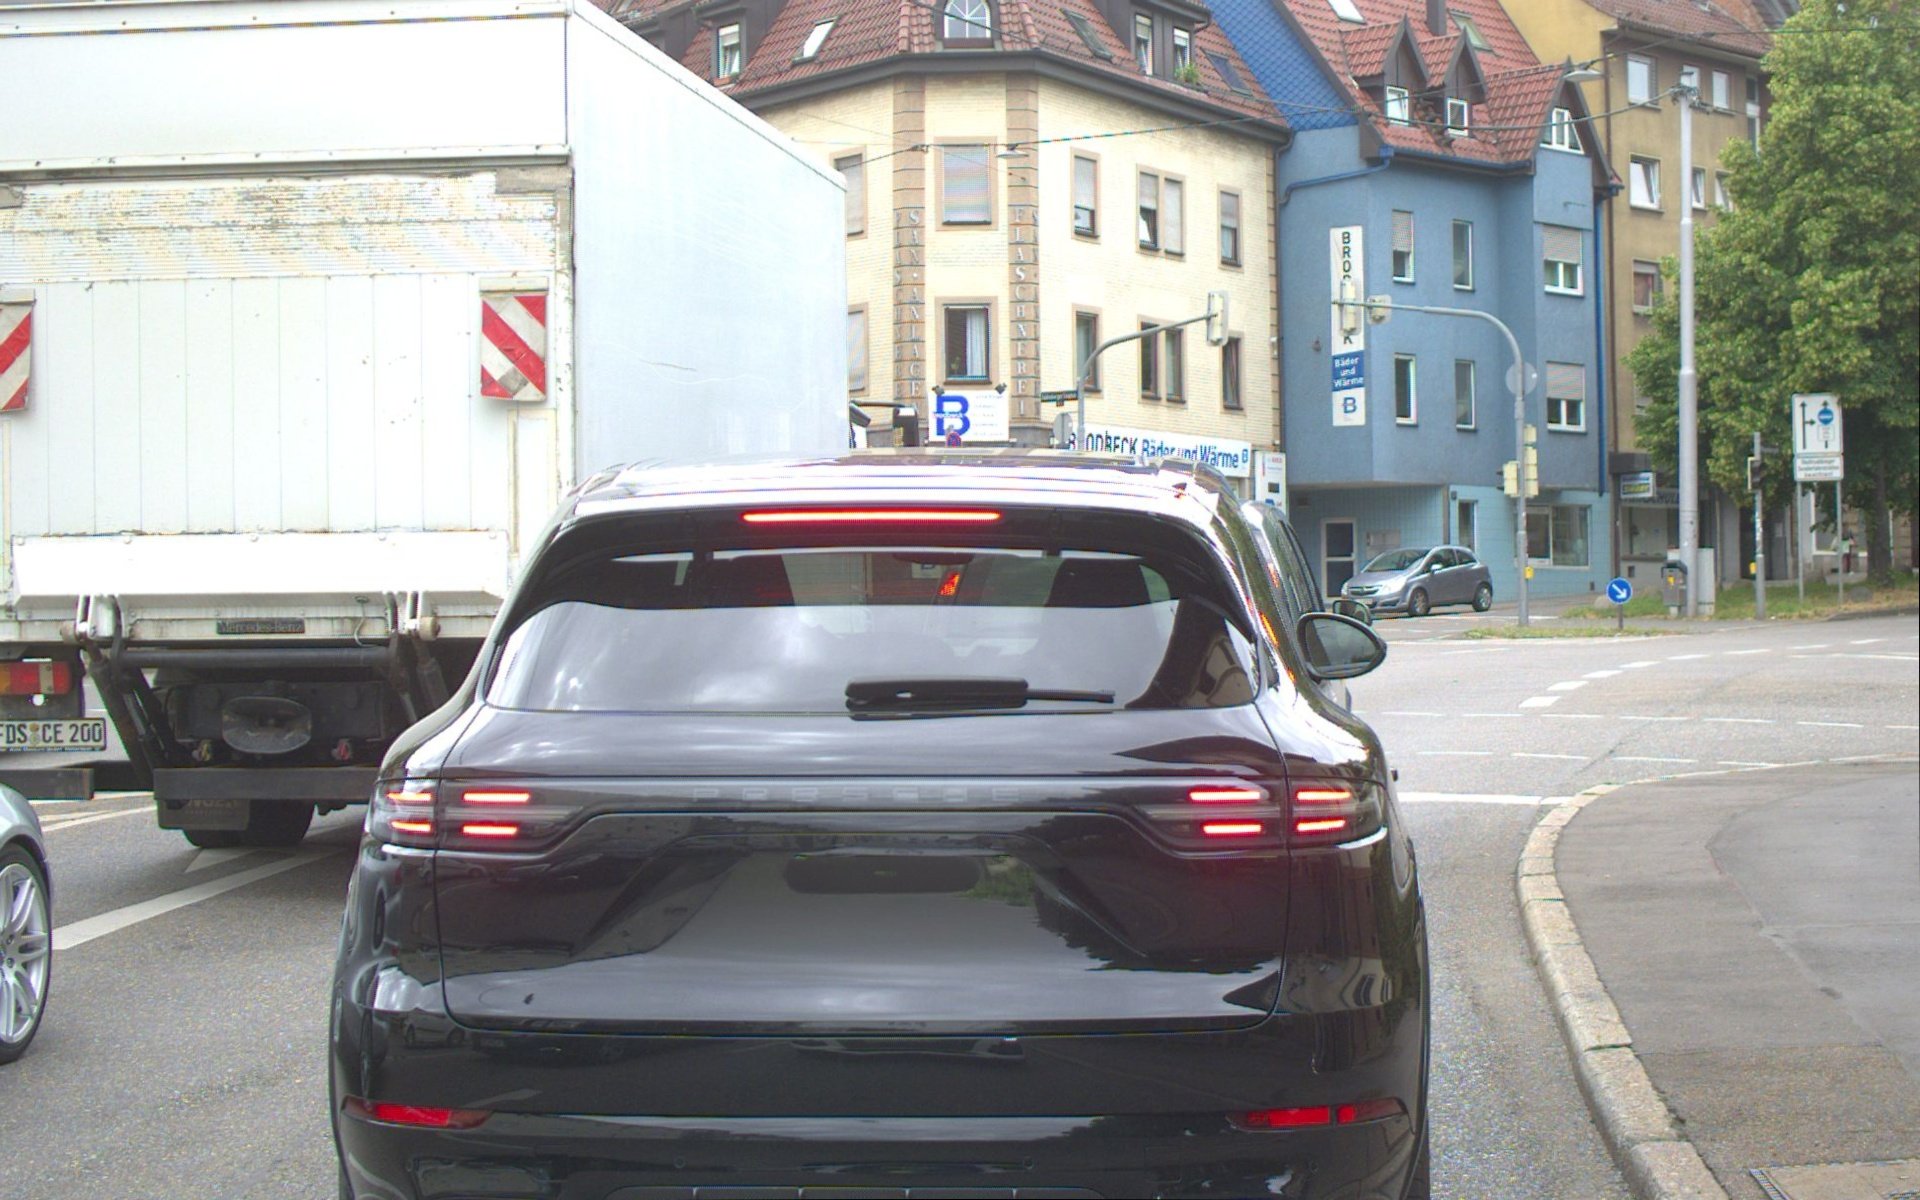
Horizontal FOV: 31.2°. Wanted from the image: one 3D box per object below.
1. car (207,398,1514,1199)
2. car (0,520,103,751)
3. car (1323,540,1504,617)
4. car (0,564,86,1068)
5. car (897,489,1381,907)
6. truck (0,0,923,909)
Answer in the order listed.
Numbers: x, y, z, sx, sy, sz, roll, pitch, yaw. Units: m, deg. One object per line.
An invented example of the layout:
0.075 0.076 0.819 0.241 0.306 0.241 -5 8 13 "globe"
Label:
-0.184 0.533 7.644 2.031 1.717 4.500 1 1 -1 "car"
-7.182 0.254 22.962 1.770 1.516 4.084 -2 1 1 "car"
9.449 -0.433 71.446 1.720 1.471 4.208 0 -1 40 "car"
-3.507 0.628 8.032 1.629 1.360 4.128 -1 1 4 "car"
0.884 0.349 14.786 1.649 1.550 3.581 1 1 10 "car"
-2.196 -0.671 17.336 2.726 3.532 8.419 -1 1 8 "truck"
